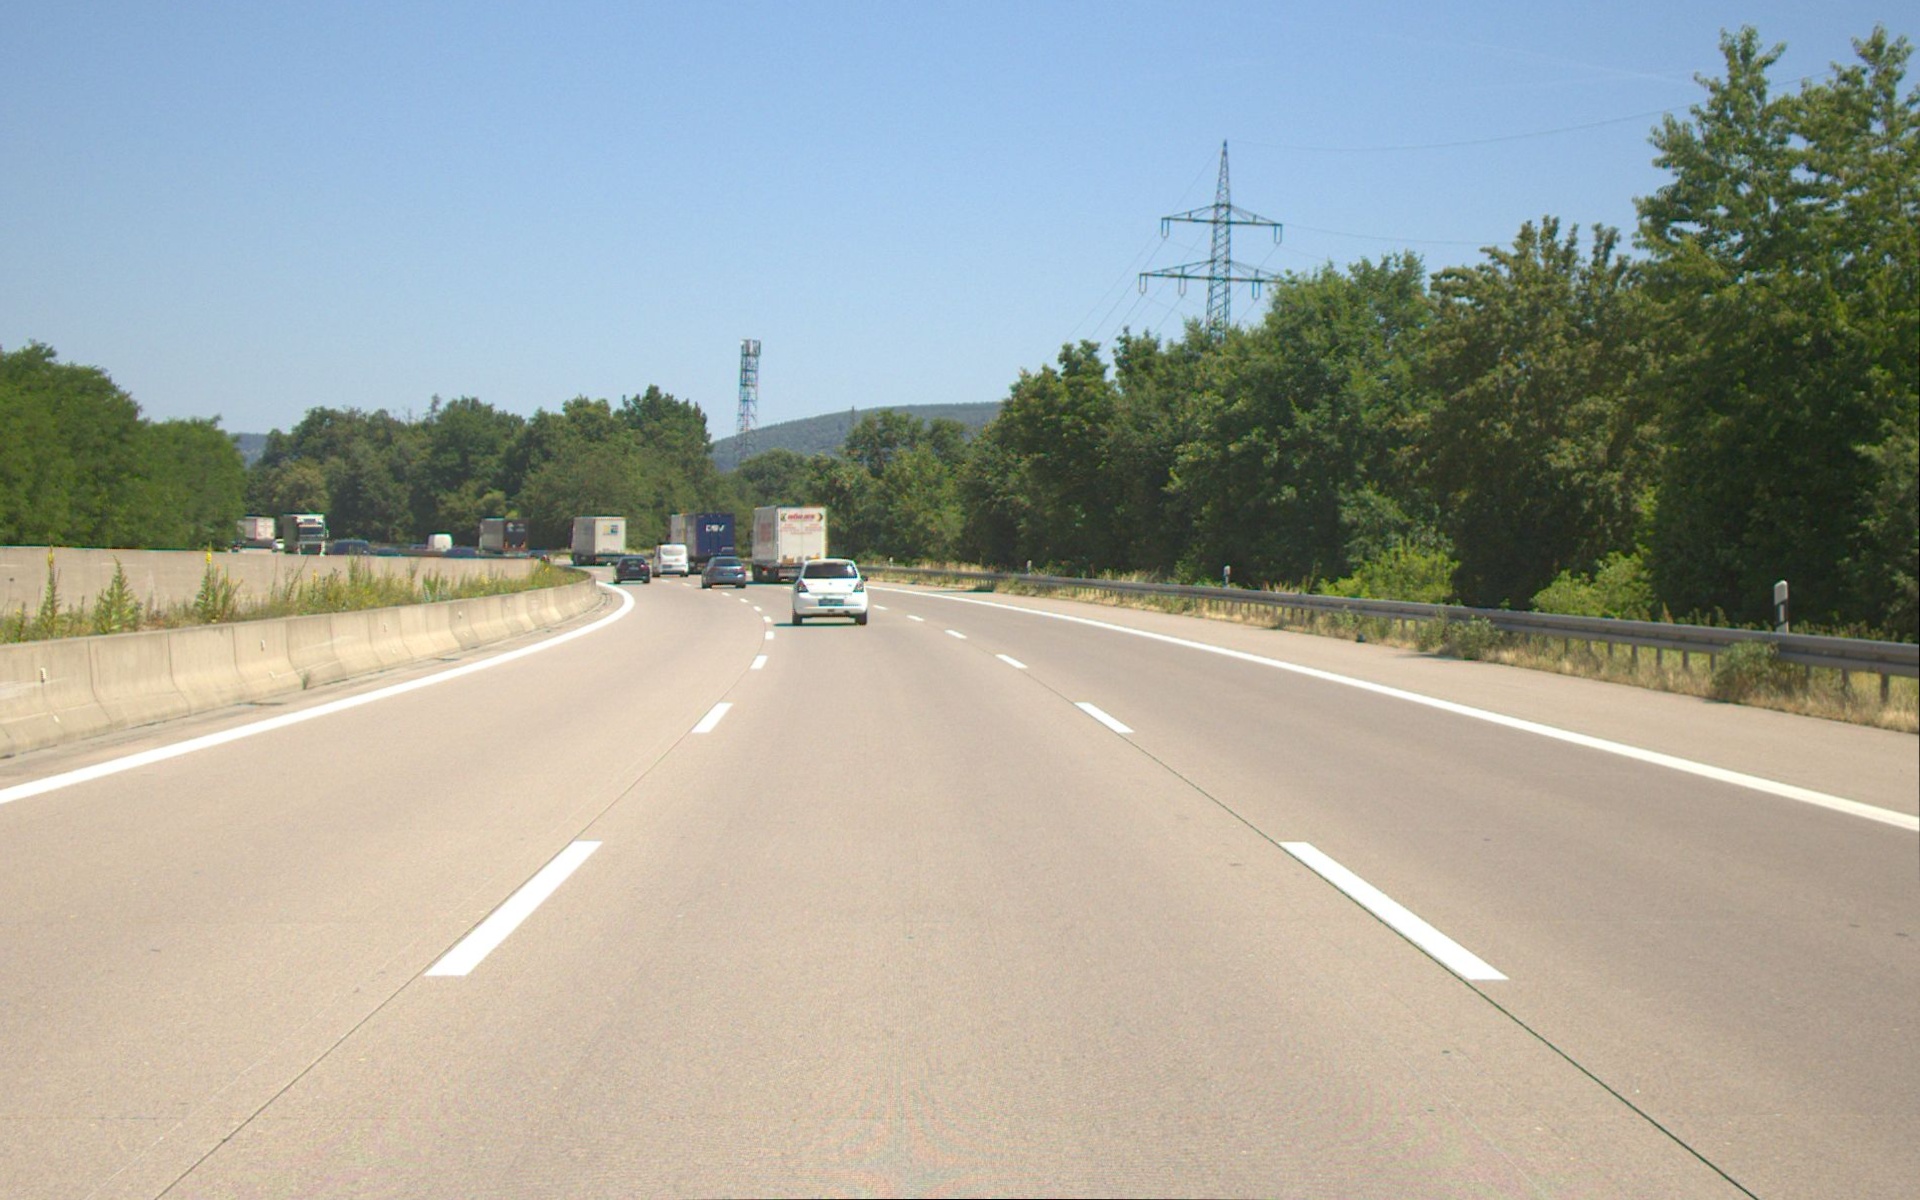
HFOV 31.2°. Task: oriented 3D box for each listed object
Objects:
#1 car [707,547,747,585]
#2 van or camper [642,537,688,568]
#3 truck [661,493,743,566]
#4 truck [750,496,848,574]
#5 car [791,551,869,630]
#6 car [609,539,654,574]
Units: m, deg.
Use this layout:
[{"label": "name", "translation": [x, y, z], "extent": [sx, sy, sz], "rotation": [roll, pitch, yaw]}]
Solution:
[{"label": "car", "translation": [-10.863, -1.585, 160.014], "extent": [1.610, 1.719, 3.574], "rotation": [0, 1, -8]}, {"label": "van or camper", "translation": [-18.154, -2.926, 211.739], "extent": [1.867, 1.831, 4.001], "rotation": [-1, 1, -19]}, {"label": "truck", "translation": [-17.375, -4.715, 230.553], "extent": [3.906, 4.725, 14.054], "rotation": [-1, 1, -11]}, {"label": "truck", "translation": [-8.544, -3.390, 180.441], "extent": [3.819, 3.876, 14.156], "rotation": [0, 1, -8]}, {"label": "car", "translation": [-3.005, -0.239, 79.415], "extent": [1.641, 1.656, 3.360], "rotation": [4, 1, -2]}, {"label": "car", "translation": [-17.476, -2.314, 182.889], "extent": [2.022, 1.695, 4.000], "rotation": [5, 1, -2]}]
